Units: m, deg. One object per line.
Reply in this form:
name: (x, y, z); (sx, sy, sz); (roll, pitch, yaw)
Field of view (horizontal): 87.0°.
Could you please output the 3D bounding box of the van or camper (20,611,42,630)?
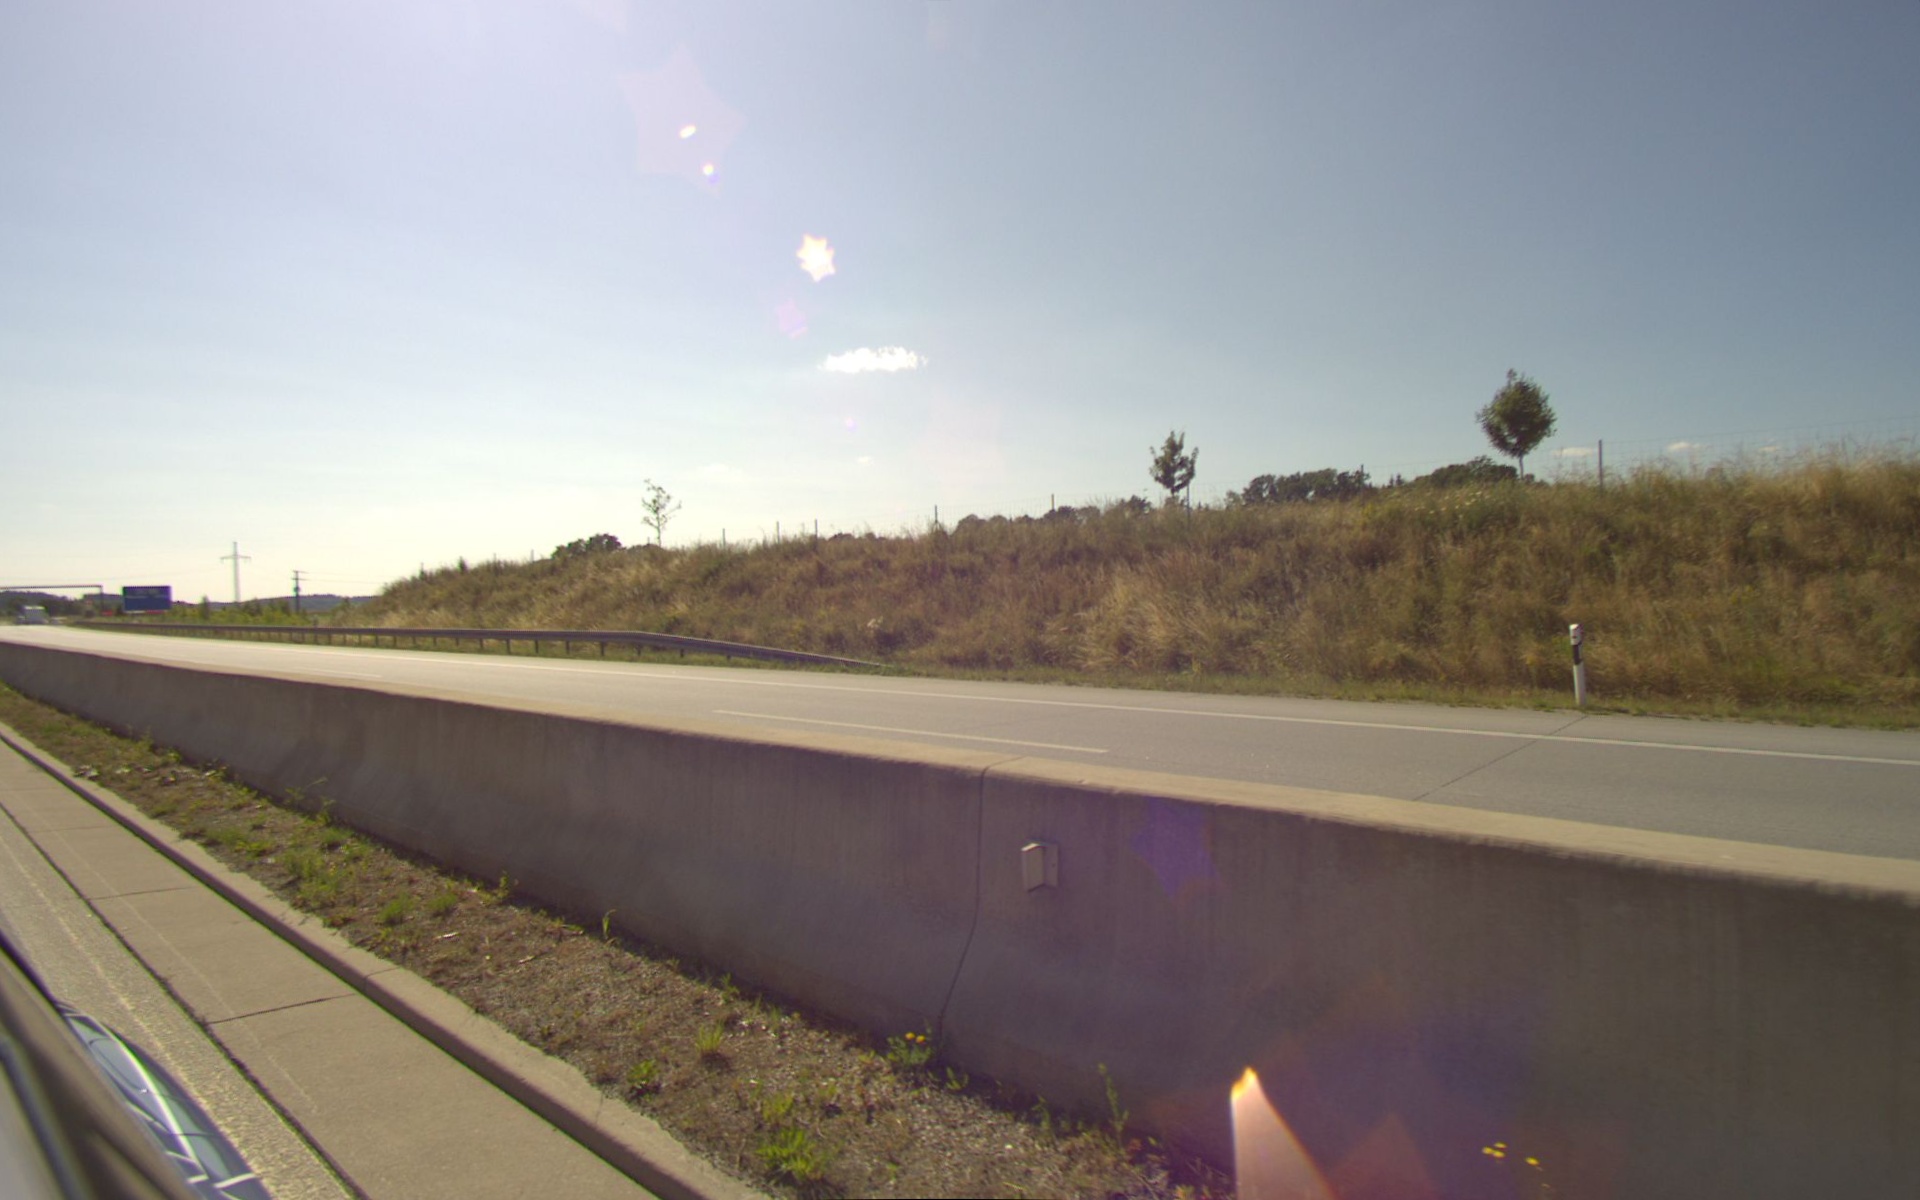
van or camper: (-152.862, 3.351, 166.522); (2.560, 3.104, 7.444); (0, -1, -43)
